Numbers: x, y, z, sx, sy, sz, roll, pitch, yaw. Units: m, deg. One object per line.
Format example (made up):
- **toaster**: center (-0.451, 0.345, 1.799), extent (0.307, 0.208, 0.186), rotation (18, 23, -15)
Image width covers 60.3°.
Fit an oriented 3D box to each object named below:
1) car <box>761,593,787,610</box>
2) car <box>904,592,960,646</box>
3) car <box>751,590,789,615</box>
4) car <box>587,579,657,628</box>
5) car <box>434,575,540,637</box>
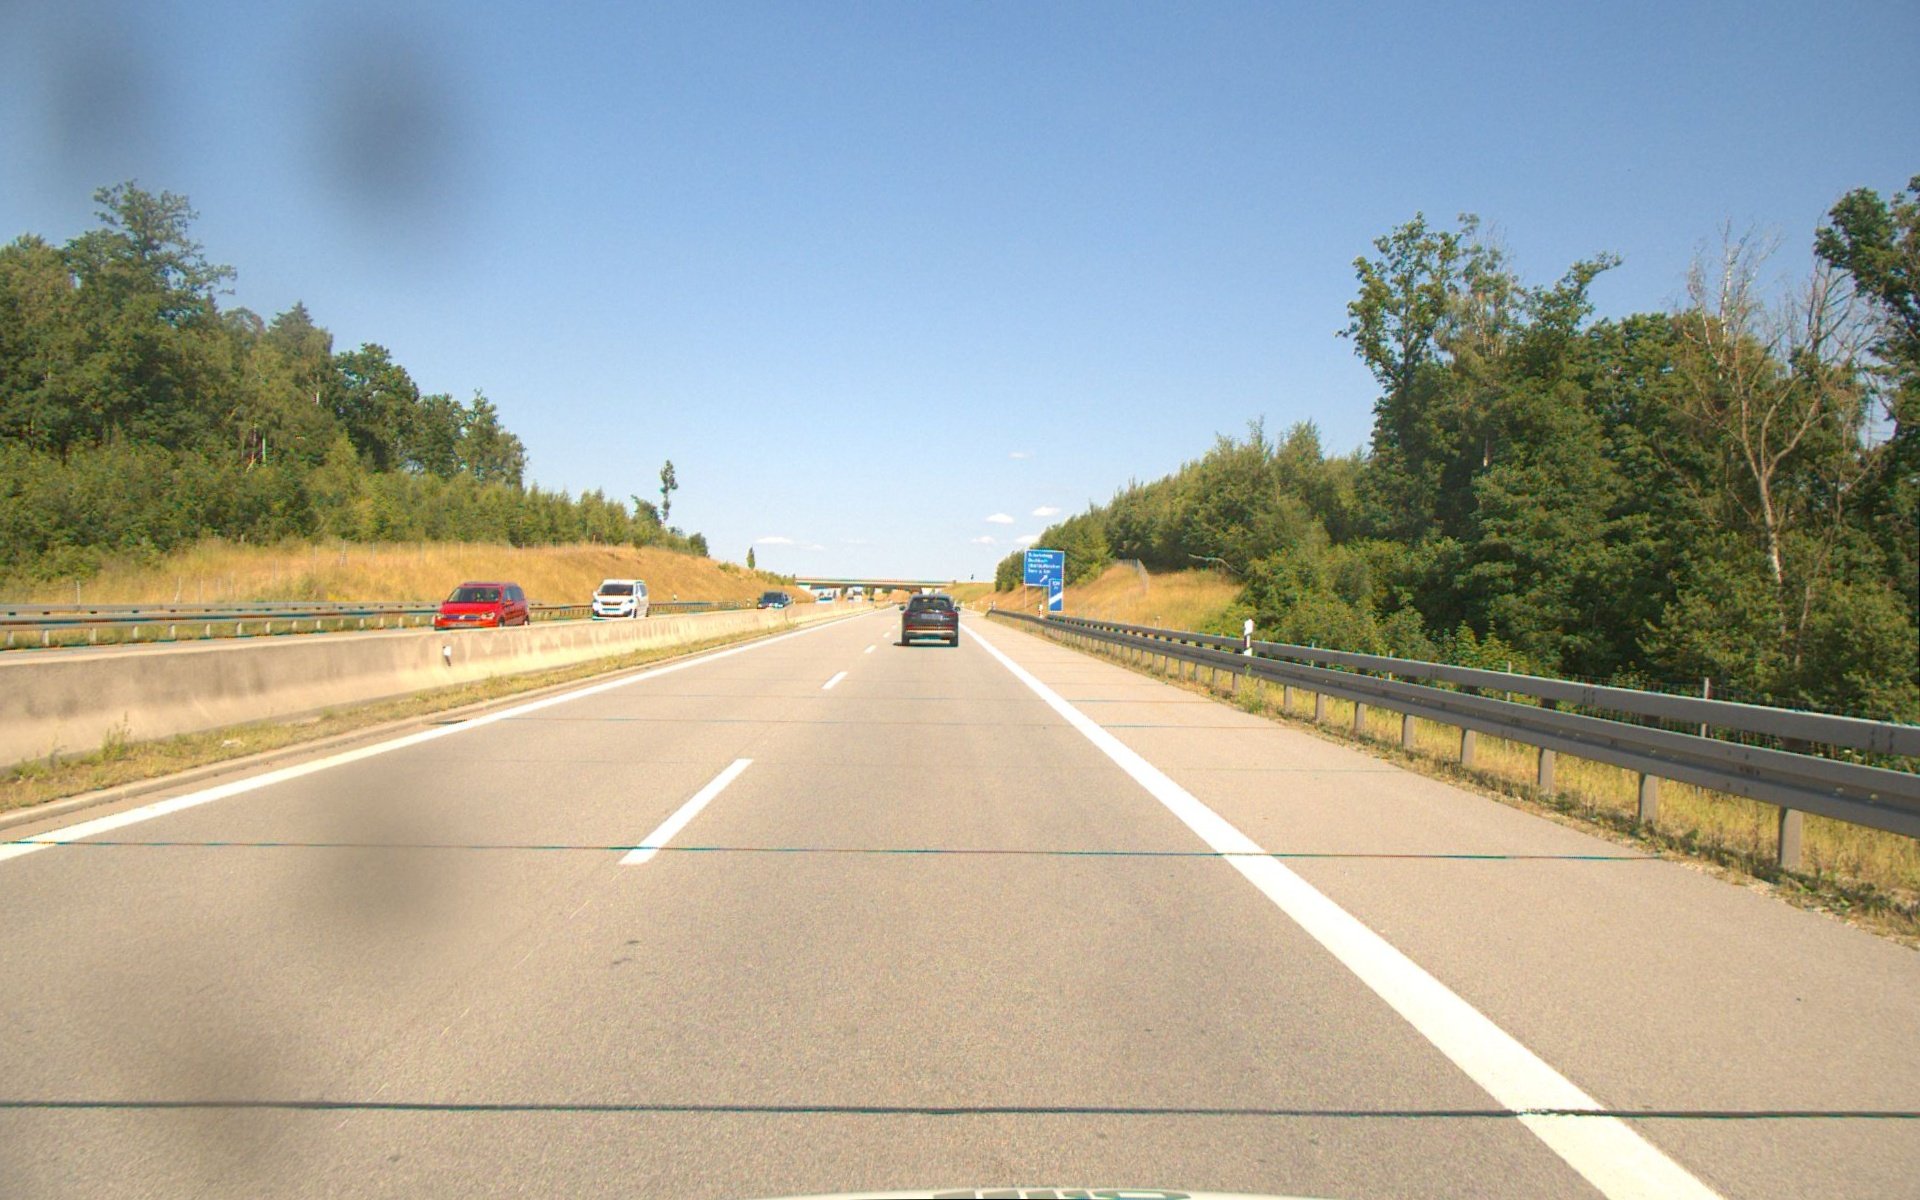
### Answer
- **car**: center (-17.817, 0.158, 158.680), extent (1.953, 1.609, 4.648), rotation (1, 0, -1)
- **car**: center (-0.884, 0.559, 52.932), extent (1.687, 1.615, 5.221), rotation (1, 0, -1)
- **car**: center (-12.569, 0.163, 109.682), extent (1.953, 1.609, 4.648), rotation (1, 0, -1)
- **car**: center (-15.371, 0.133, 75.481), extent (1.953, 2.119, 6.226), rotation (1, 0, -1)
- **car**: center (-13.469, 0.159, 47.357), extent (1.633, 1.673, 4.888), rotation (1, 0, -1)
